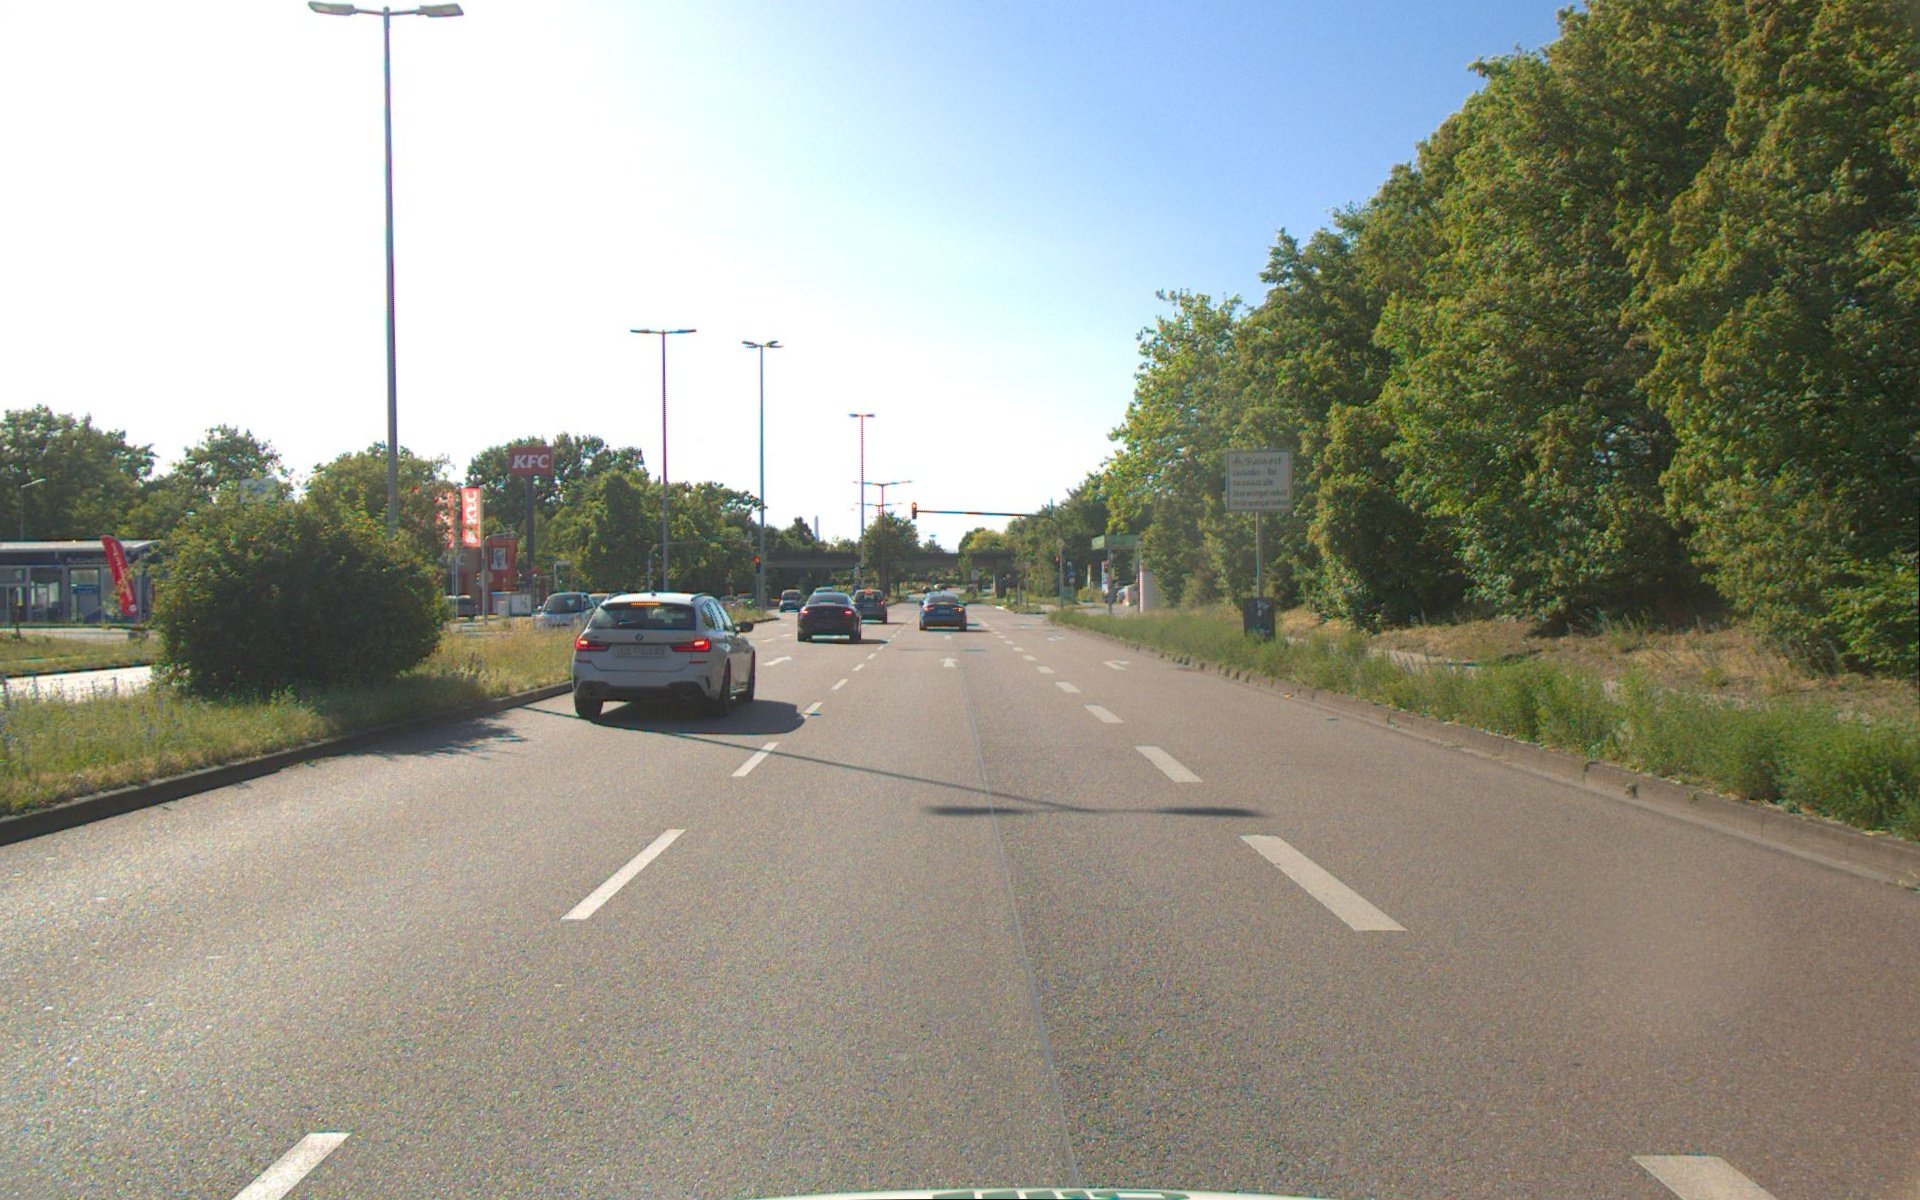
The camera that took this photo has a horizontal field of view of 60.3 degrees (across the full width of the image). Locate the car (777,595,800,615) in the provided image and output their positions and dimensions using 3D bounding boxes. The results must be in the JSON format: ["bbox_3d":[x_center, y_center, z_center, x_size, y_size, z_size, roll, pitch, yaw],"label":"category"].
[{"bbox_3d":[-14.000,0.380,134.835,1.504,1.608,3.671,-1,0,-1],"label":"car"}]

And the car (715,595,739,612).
[{"bbox_3d":[-20.598,0.286,146.197,1.669,1.427,3.722,0,0,-1],"label":"car"}]

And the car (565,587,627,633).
[{"bbox_3d":[-13.448,0.346,61.229,1.504,1.651,3.671,0,0,-1],"label":"car"}]

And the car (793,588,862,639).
[{"bbox_3d":[-4.022,0.390,50.838,1.824,1.480,4.547,0,0,-1],"label":"car"}]

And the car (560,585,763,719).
[{"bbox_3d":[-3.639,0.567,20.926,1.824,1.480,4.546,1,1,-1],"label":"car"}]

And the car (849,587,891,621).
[{"bbox_3d":[-4.305,0.192,79.831,1.824,1.592,4.547,0,0,-1],"label":"car"}]

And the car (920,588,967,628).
[{"bbox_3d":[-0.686,0.305,66.424,1.824,1.525,4.336,0,0,-1],"label":"car"}]

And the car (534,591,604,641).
[{"bbox_3d":[-12.497,0.492,53.050,1.463,1.535,3.486,0,0,-1],"label":"car"}]

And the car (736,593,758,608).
[{"bbox_3d":[-20.568,0.078,159.950,1.669,1.426,3.722,0,0,-1],"label":"car"}]

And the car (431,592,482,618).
[{"bbox_3d":[-36.269,0.329,119.106,1.913,1.814,4.020,0,0,-44],"label":"car"}]

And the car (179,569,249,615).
[{"bbox_3d":[-37.568,-0.413,83.432,1.782,2.248,3.999,0,0,-1],"label":"car"}]
